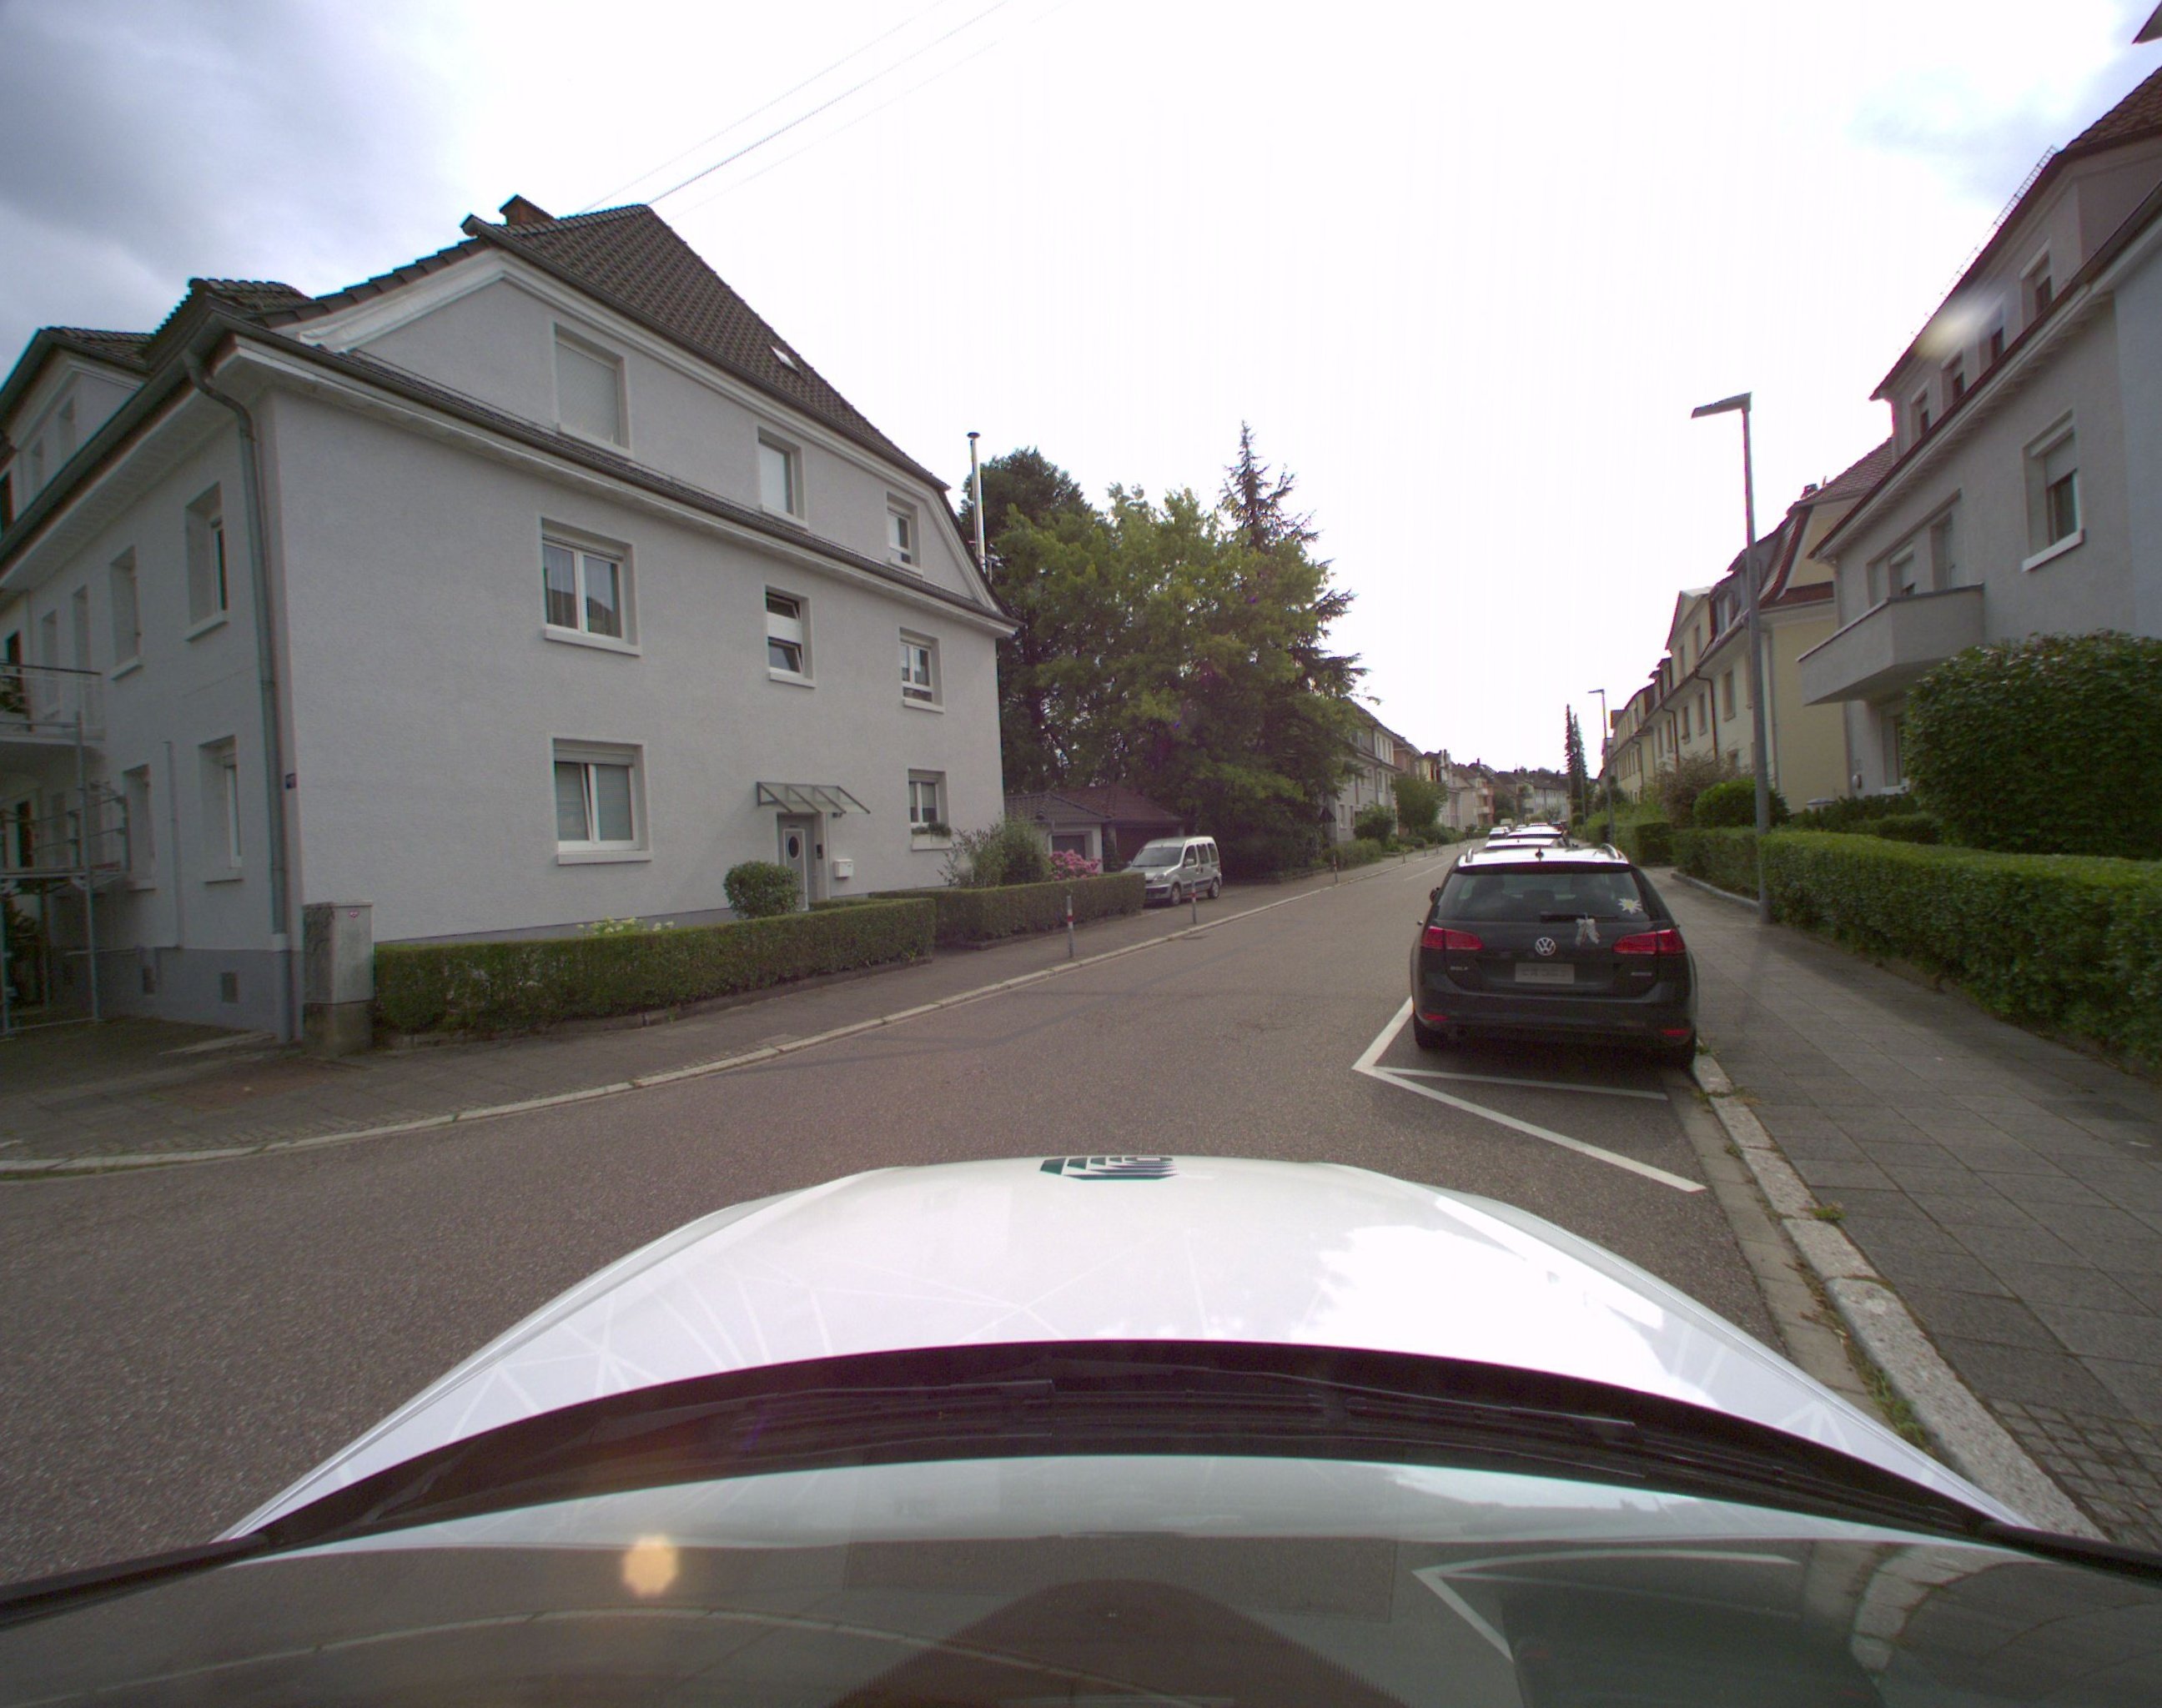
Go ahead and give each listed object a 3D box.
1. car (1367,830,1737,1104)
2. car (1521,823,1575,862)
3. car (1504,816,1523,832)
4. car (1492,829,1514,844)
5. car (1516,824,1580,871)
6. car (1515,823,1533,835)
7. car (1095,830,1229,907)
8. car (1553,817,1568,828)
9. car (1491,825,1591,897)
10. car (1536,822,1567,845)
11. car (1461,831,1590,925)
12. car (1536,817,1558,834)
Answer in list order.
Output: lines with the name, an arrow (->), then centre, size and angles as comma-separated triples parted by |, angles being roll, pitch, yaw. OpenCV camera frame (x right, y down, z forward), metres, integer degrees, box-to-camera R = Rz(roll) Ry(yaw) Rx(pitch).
car -> 3.656, 0.611, 6.722 | 1.836, 1.471, 4.201 | -4, 0, 27
car -> 19.993, -0.512, 34.780 | 1.836, 1.471, 4.202 | -3, 0, 31
car -> 59.226, -4.111, 111.516 | 1.974, 2.013, 4.026 | -4, 0, 32
car -> 52.430, -2.231, 101.194 | 1.974, 1.640, 4.026 | -3, 0, 34
car -> 17.185, -0.272, 29.872 | 1.836, 1.471, 4.202 | -3, 0, 31
car -> 68.407, -3.857, 125.682 | 1.974, 1.640, 4.026 | -4, 0, 34
car -> 2.328, 0.344, 22.420 | 1.974, 1.837, 4.026 | -4, 0, 32
car -> 72.897, -4.836, 123.827 | 1.836, 1.578, 4.202 | -4, 0, 31
car -> 11.131, 0.118, 19.623 | 1.836, 1.471, 4.202 | -3, 0, 31
car -> 34.521, -1.535, 59.688 | 1.836, 1.471, 4.202 | -3, 0, 31
car -> 8.585, 0.386, 15.588 | 1.836, 1.471, 4.202 | -3, 0, 31
car -> 46.488, -2.828, 81.246 | 1.836, 1.578, 4.202 | -4, 0, 30
